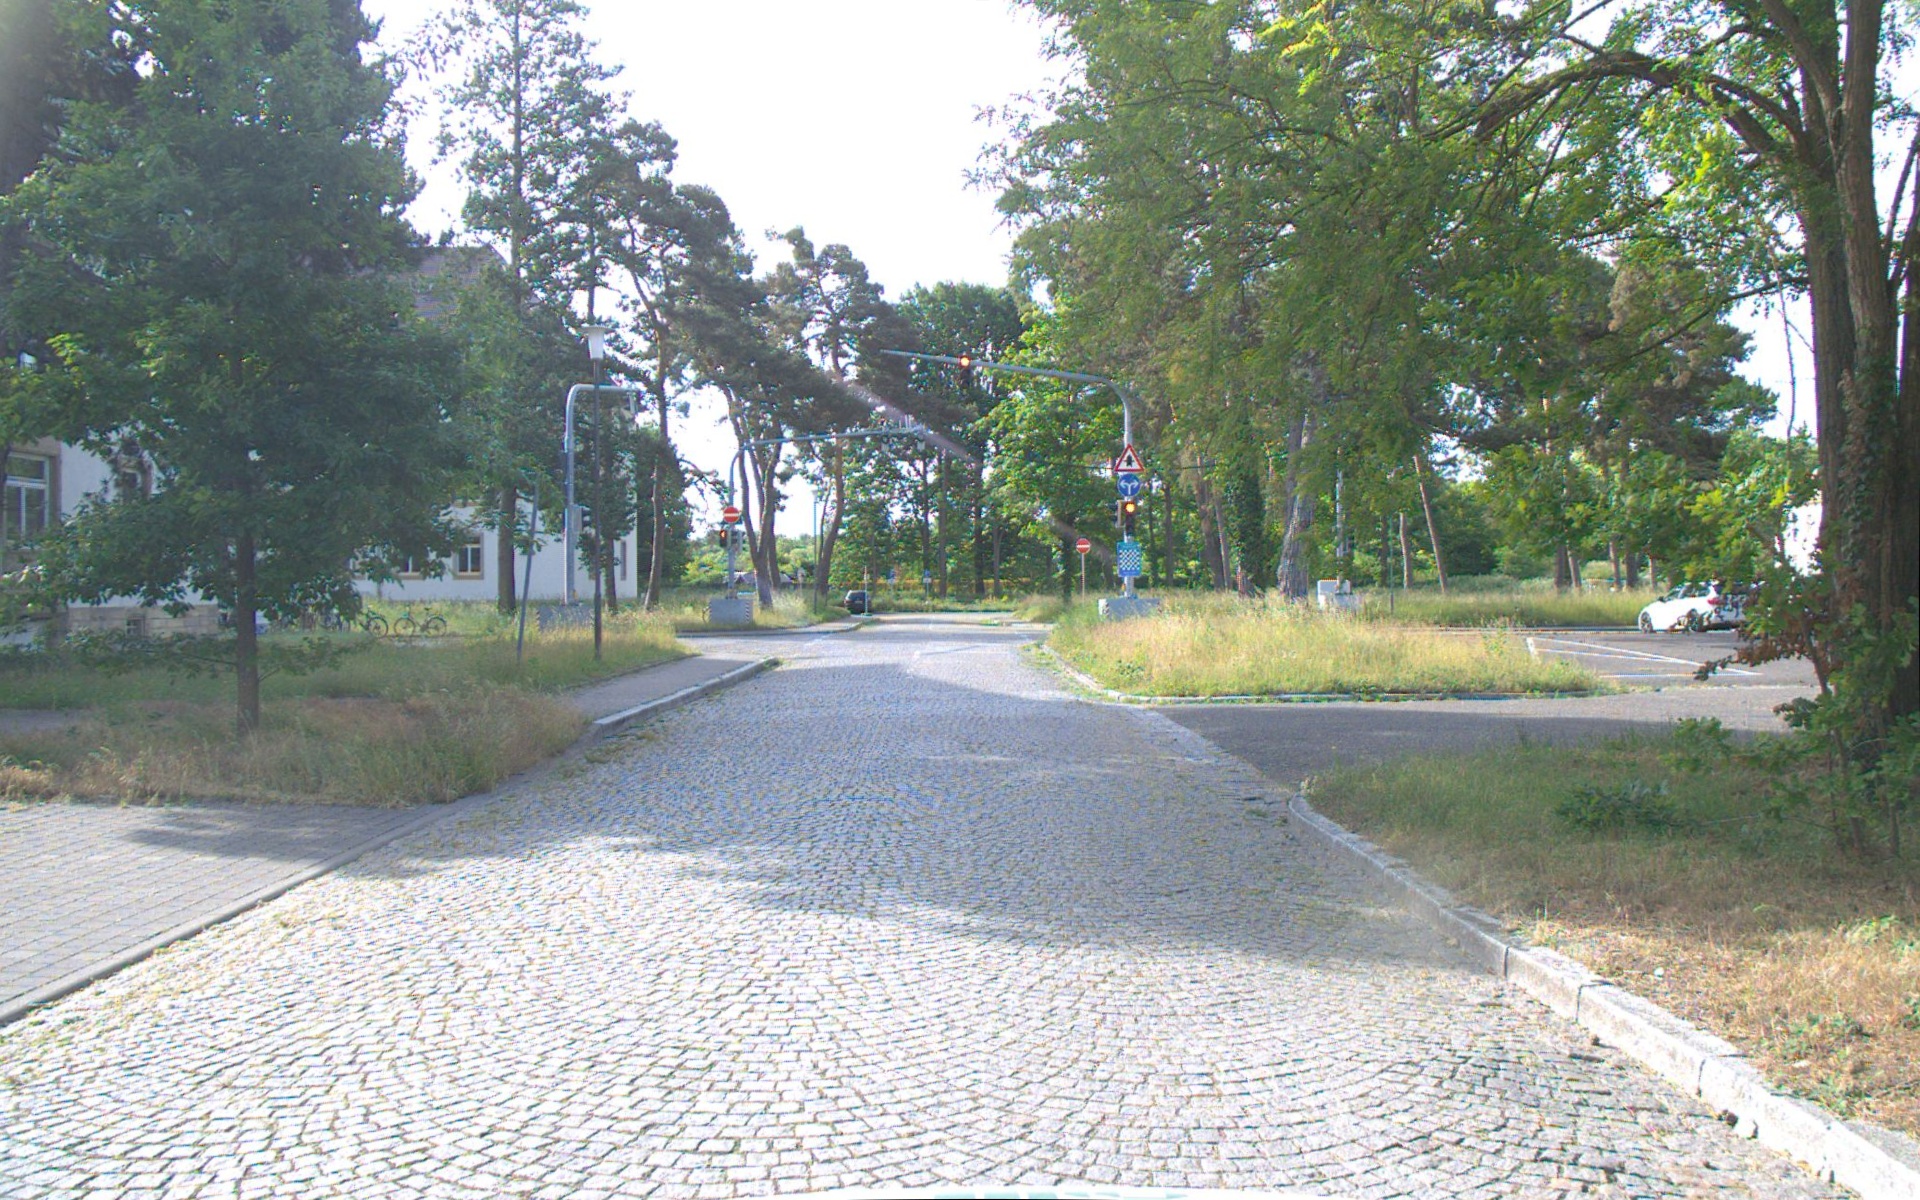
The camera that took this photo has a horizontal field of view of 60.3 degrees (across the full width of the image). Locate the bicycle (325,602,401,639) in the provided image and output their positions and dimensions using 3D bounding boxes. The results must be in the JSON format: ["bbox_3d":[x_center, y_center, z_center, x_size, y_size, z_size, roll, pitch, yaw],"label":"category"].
[{"bbox_3d":[-18.674,0.639,51.764,2.075,1.128,0.828,-1,0,-4],"label":"bicycle"}]

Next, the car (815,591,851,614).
[{"bbox_3d":[-8.752,0.153,114.224,1.745,1.516,3.758,-1,0,6],"label":"car"}]

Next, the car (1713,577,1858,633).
[{"bbox_3d":[23.134,0.125,46.512,1.697,1.502,4.328,-1,0,-4],"label":"car"}]

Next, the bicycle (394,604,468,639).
[{"bbox_3d":[-16.591,0.668,51.891,2.075,1.065,0.828,-1,0,-4],"label":"bicycle"}]

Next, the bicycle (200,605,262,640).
[{"bbox_3d":[-23.300,0.697,52.938,0.882,1.065,2.553,-1,0,-1],"label":"bicycle"}]

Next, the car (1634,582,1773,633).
[{"bbox_3d":[20.666,0.179,46.166,1.697,1.335,4.328,-1,1,-4],"label":"car"}]

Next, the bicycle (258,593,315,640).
[{"bbox_3d":[-21.661,0.509,53.265,0.809,1.462,2.553,-1,0,-1],"label":"bicycle"}]

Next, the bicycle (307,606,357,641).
[{"bbox_3d":[-20.114,0.746,52.992,0.809,1.065,2.124,-1,0,-1],"label":"bicycle"}]

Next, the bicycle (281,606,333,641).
[{"bbox_3d":[-20.881,0.734,52.937,0.809,1.065,2.124,-1,0,-1],"label":"bicycle"}]

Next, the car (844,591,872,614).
[{"bbox_3d":[-6.722,0.149,109.453,1.808,1.512,3.998,-1,0,-3],"label":"car"}]
